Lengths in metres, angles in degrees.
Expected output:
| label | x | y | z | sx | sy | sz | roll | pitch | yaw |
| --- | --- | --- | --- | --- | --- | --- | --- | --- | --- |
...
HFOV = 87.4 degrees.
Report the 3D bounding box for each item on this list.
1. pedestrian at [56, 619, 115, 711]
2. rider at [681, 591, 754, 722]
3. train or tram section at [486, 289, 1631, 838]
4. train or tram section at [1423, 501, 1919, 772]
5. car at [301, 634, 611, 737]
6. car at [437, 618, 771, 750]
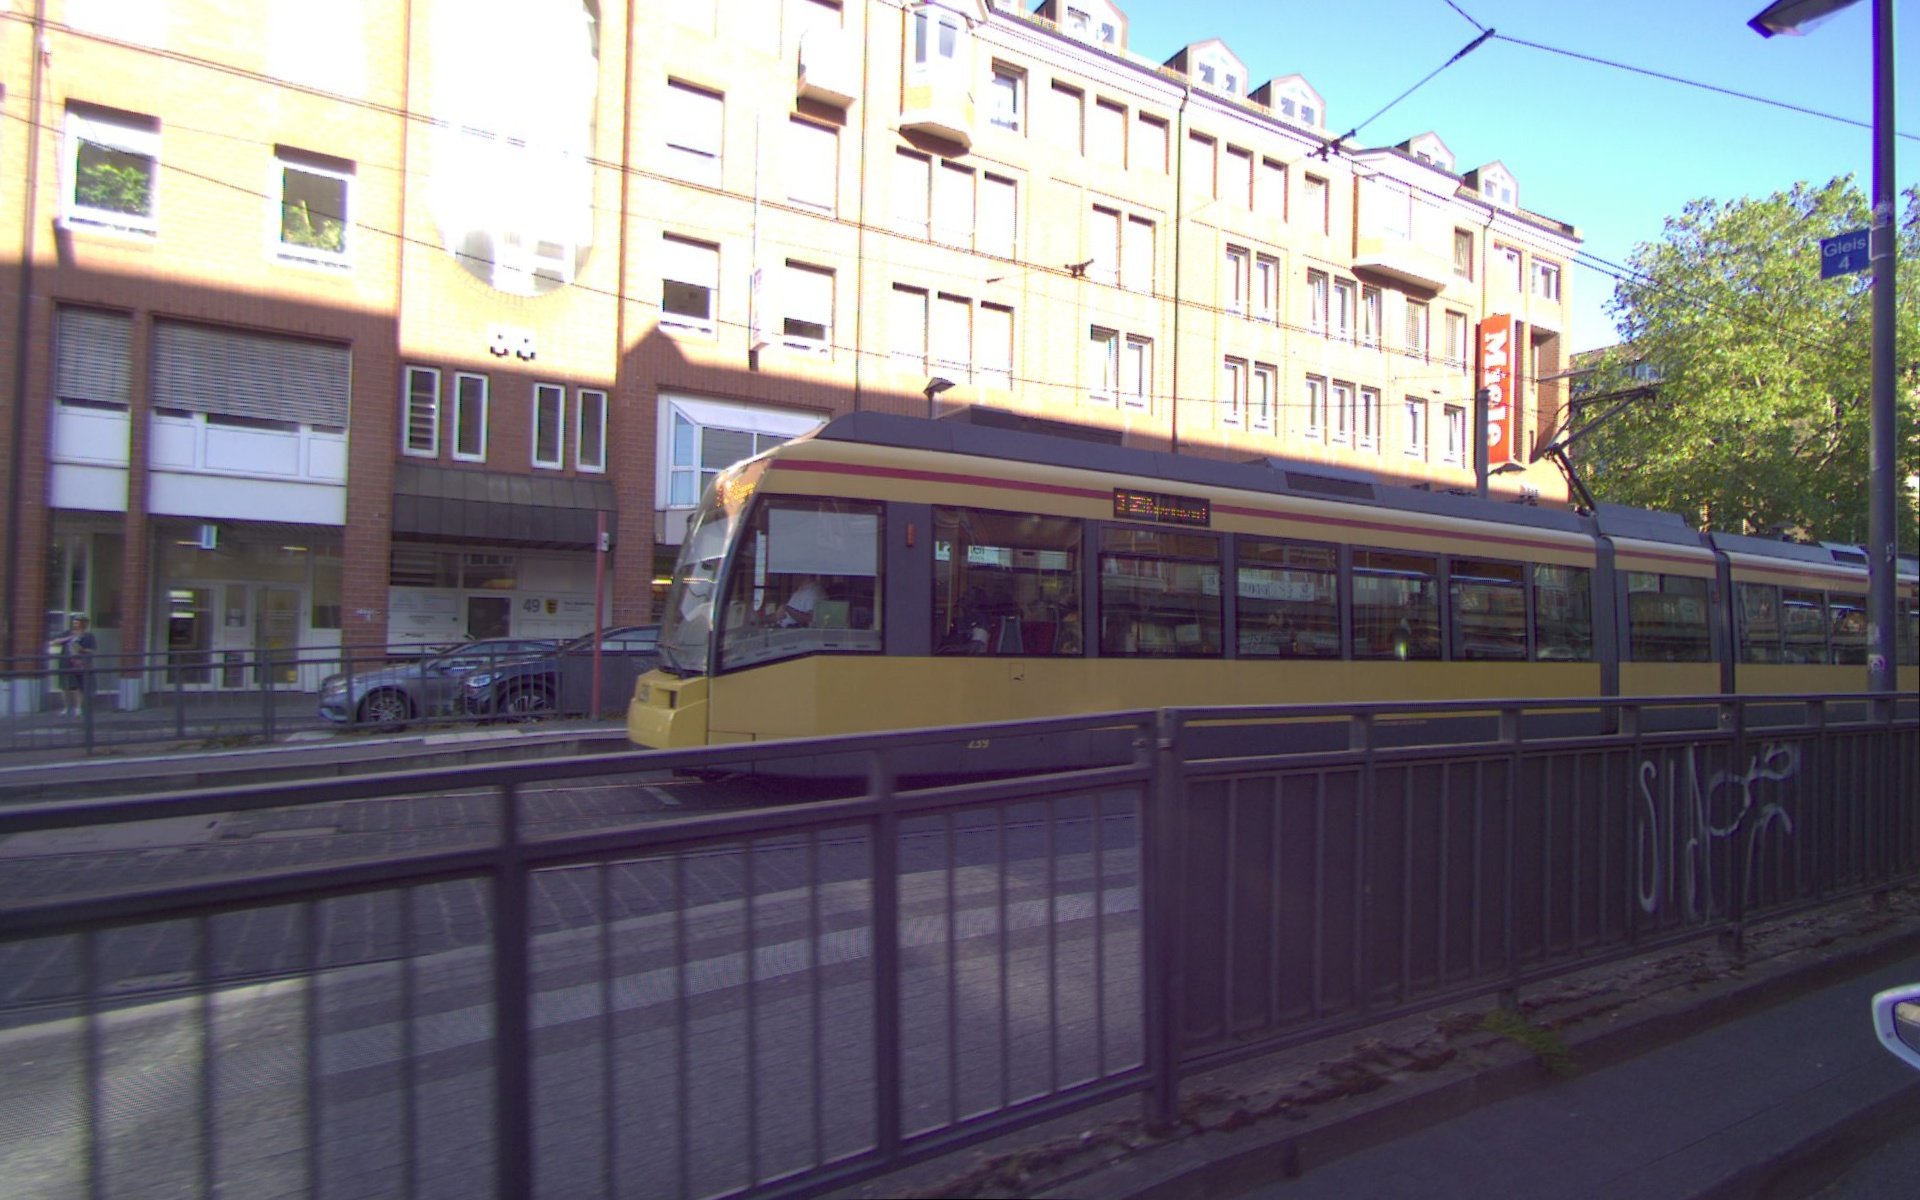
| label | x | y | z | sx | sy | sz | roll | pitch | yaw |
| --- | --- | --- | --- | --- | --- | --- | --- | --- | --- |
| pedestrian | -14.023 | 1.034 | 16.114 | 0.574 | 1.436 | 0.516 | 3 | -2 | -32 |
| rider | -3.002 | 0.691 | 12.474 | 0.671 | 1.570 | 0.571 | 2 | -1 | 7 |
| train or tram section | 2.347 | 0.057 | 11.490 | 13.780 | 3.693 | 2.960 | 3 | 0 | -30 |
| train or tram section | 15.342 | 0.772 | 19.064 | 16.290 | 3.693 | 2.960 | 2 | 0 | -30 |
| car | -7.768 | 1.298 | 15.710 | 4.065 | 1.413 | 1.906 | 3 | -3 | -30 |
| car | -4.896 | 1.103 | 13.919 | 4.065 | 1.571 | 1.906 | 3 | -2 | -30 |
